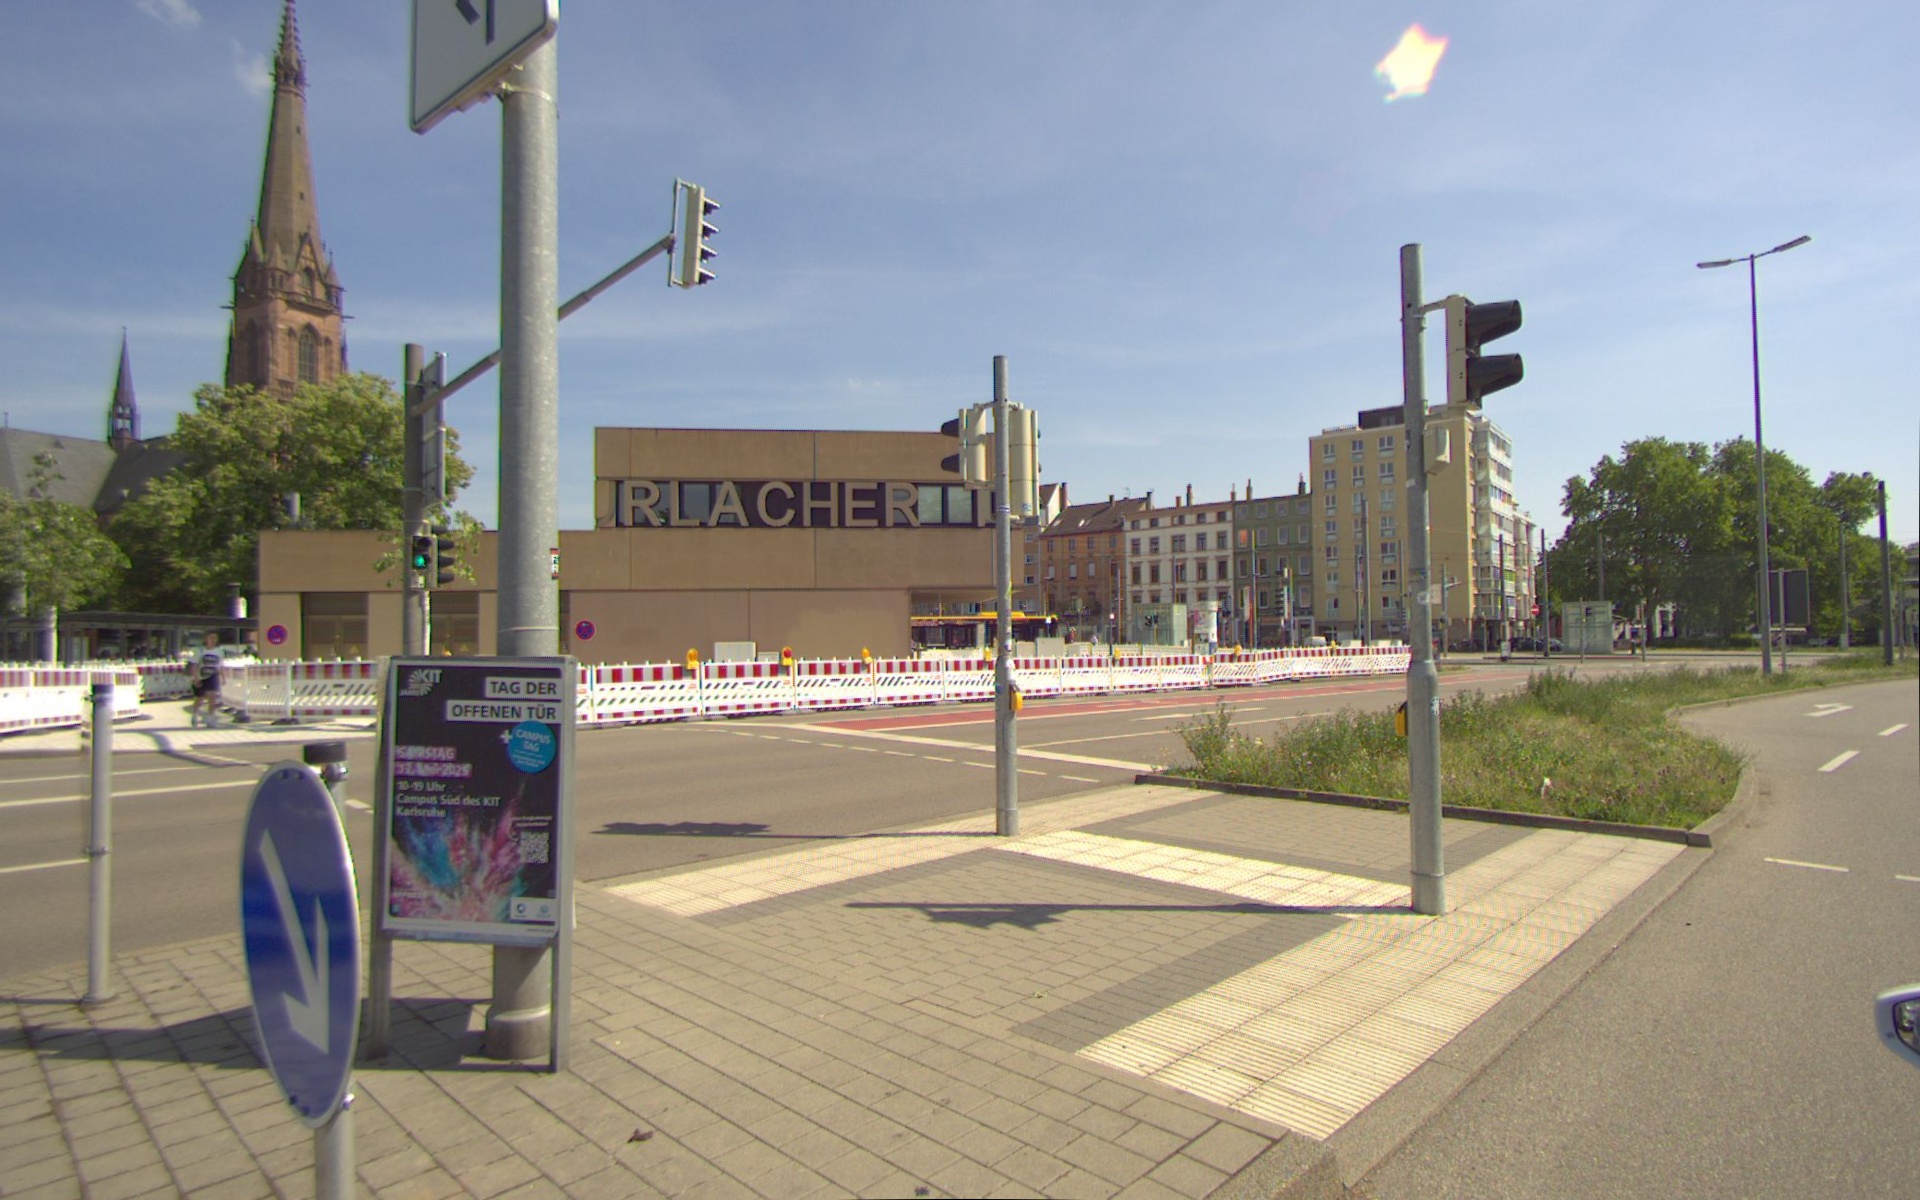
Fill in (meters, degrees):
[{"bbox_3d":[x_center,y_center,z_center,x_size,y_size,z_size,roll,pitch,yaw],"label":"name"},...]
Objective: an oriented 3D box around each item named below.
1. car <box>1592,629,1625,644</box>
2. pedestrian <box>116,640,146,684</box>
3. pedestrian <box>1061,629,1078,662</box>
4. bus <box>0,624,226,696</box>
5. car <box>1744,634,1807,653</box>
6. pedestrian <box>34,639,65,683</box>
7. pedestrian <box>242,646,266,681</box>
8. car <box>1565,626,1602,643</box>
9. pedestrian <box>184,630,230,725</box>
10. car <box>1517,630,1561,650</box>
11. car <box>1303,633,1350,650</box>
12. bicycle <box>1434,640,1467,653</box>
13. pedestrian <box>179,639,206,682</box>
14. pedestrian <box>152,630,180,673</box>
[{"bbox_3d":[92.889,5.181,143.928,3.931,2.040,1.995,-2,0,32],"label":"car"},{"bbox_3d":[-38.881,2.894,47.112,0.673,2.040,0.820,-1,-3,-3],"label":"pedestrian"},{"bbox_3d":[5.553,2.290,50.851,0.640,1.683,0.648,0,-2,-18],"label":"pedestrian"},{"bbox_3d":[-44.138,2.971,49.926,12.185,3.135,3.129,-2,0,-8],"label":"bus"},{"bbox_3d":[66.174,3.506,81.591,3.939,1.530,1.792,-2,-3,39],"label":"car"},{"bbox_3d":[-42.674,2.849,47.092,0.673,2.040,0.820,-1,-3,-6],"label":"pedestrian"},{"bbox_3d":[-34.007,3.063,48.395,0.734,1.683,0.817,0,-3,-21],"label":"pedestrian"},{"bbox_3d":[79.463,4.361,128.122,3.931,2.040,1.995,-2,0,32],"label":"car"},{"bbox_3d":[-12.924,1.320,17.247,0.418,1.585,0.555,-3,-3,44],"label":"pedestrian"},{"bbox_3d":[61.531,4.245,106.718,3.931,2.040,1.995,-2,0,32],"label":"car"},{"bbox_3d":[35.684,4.044,97.883,3.920,1.530,1.801,0,-2,1],"label":"car"},{"bbox_3d":[48.209,4.569,98.772,2.776,1.238,0.990,-2,0,34],"label":"bicycle"},{"bbox_3d":[-37.034,2.909,48.482,0.673,2.040,0.820,-1,-3,-3],"label":"pedestrian"},{"bbox_3d":[-38.013,2.449,48.117,0.673,2.040,0.820,0,-2,-3],"label":"pedestrian"}]
